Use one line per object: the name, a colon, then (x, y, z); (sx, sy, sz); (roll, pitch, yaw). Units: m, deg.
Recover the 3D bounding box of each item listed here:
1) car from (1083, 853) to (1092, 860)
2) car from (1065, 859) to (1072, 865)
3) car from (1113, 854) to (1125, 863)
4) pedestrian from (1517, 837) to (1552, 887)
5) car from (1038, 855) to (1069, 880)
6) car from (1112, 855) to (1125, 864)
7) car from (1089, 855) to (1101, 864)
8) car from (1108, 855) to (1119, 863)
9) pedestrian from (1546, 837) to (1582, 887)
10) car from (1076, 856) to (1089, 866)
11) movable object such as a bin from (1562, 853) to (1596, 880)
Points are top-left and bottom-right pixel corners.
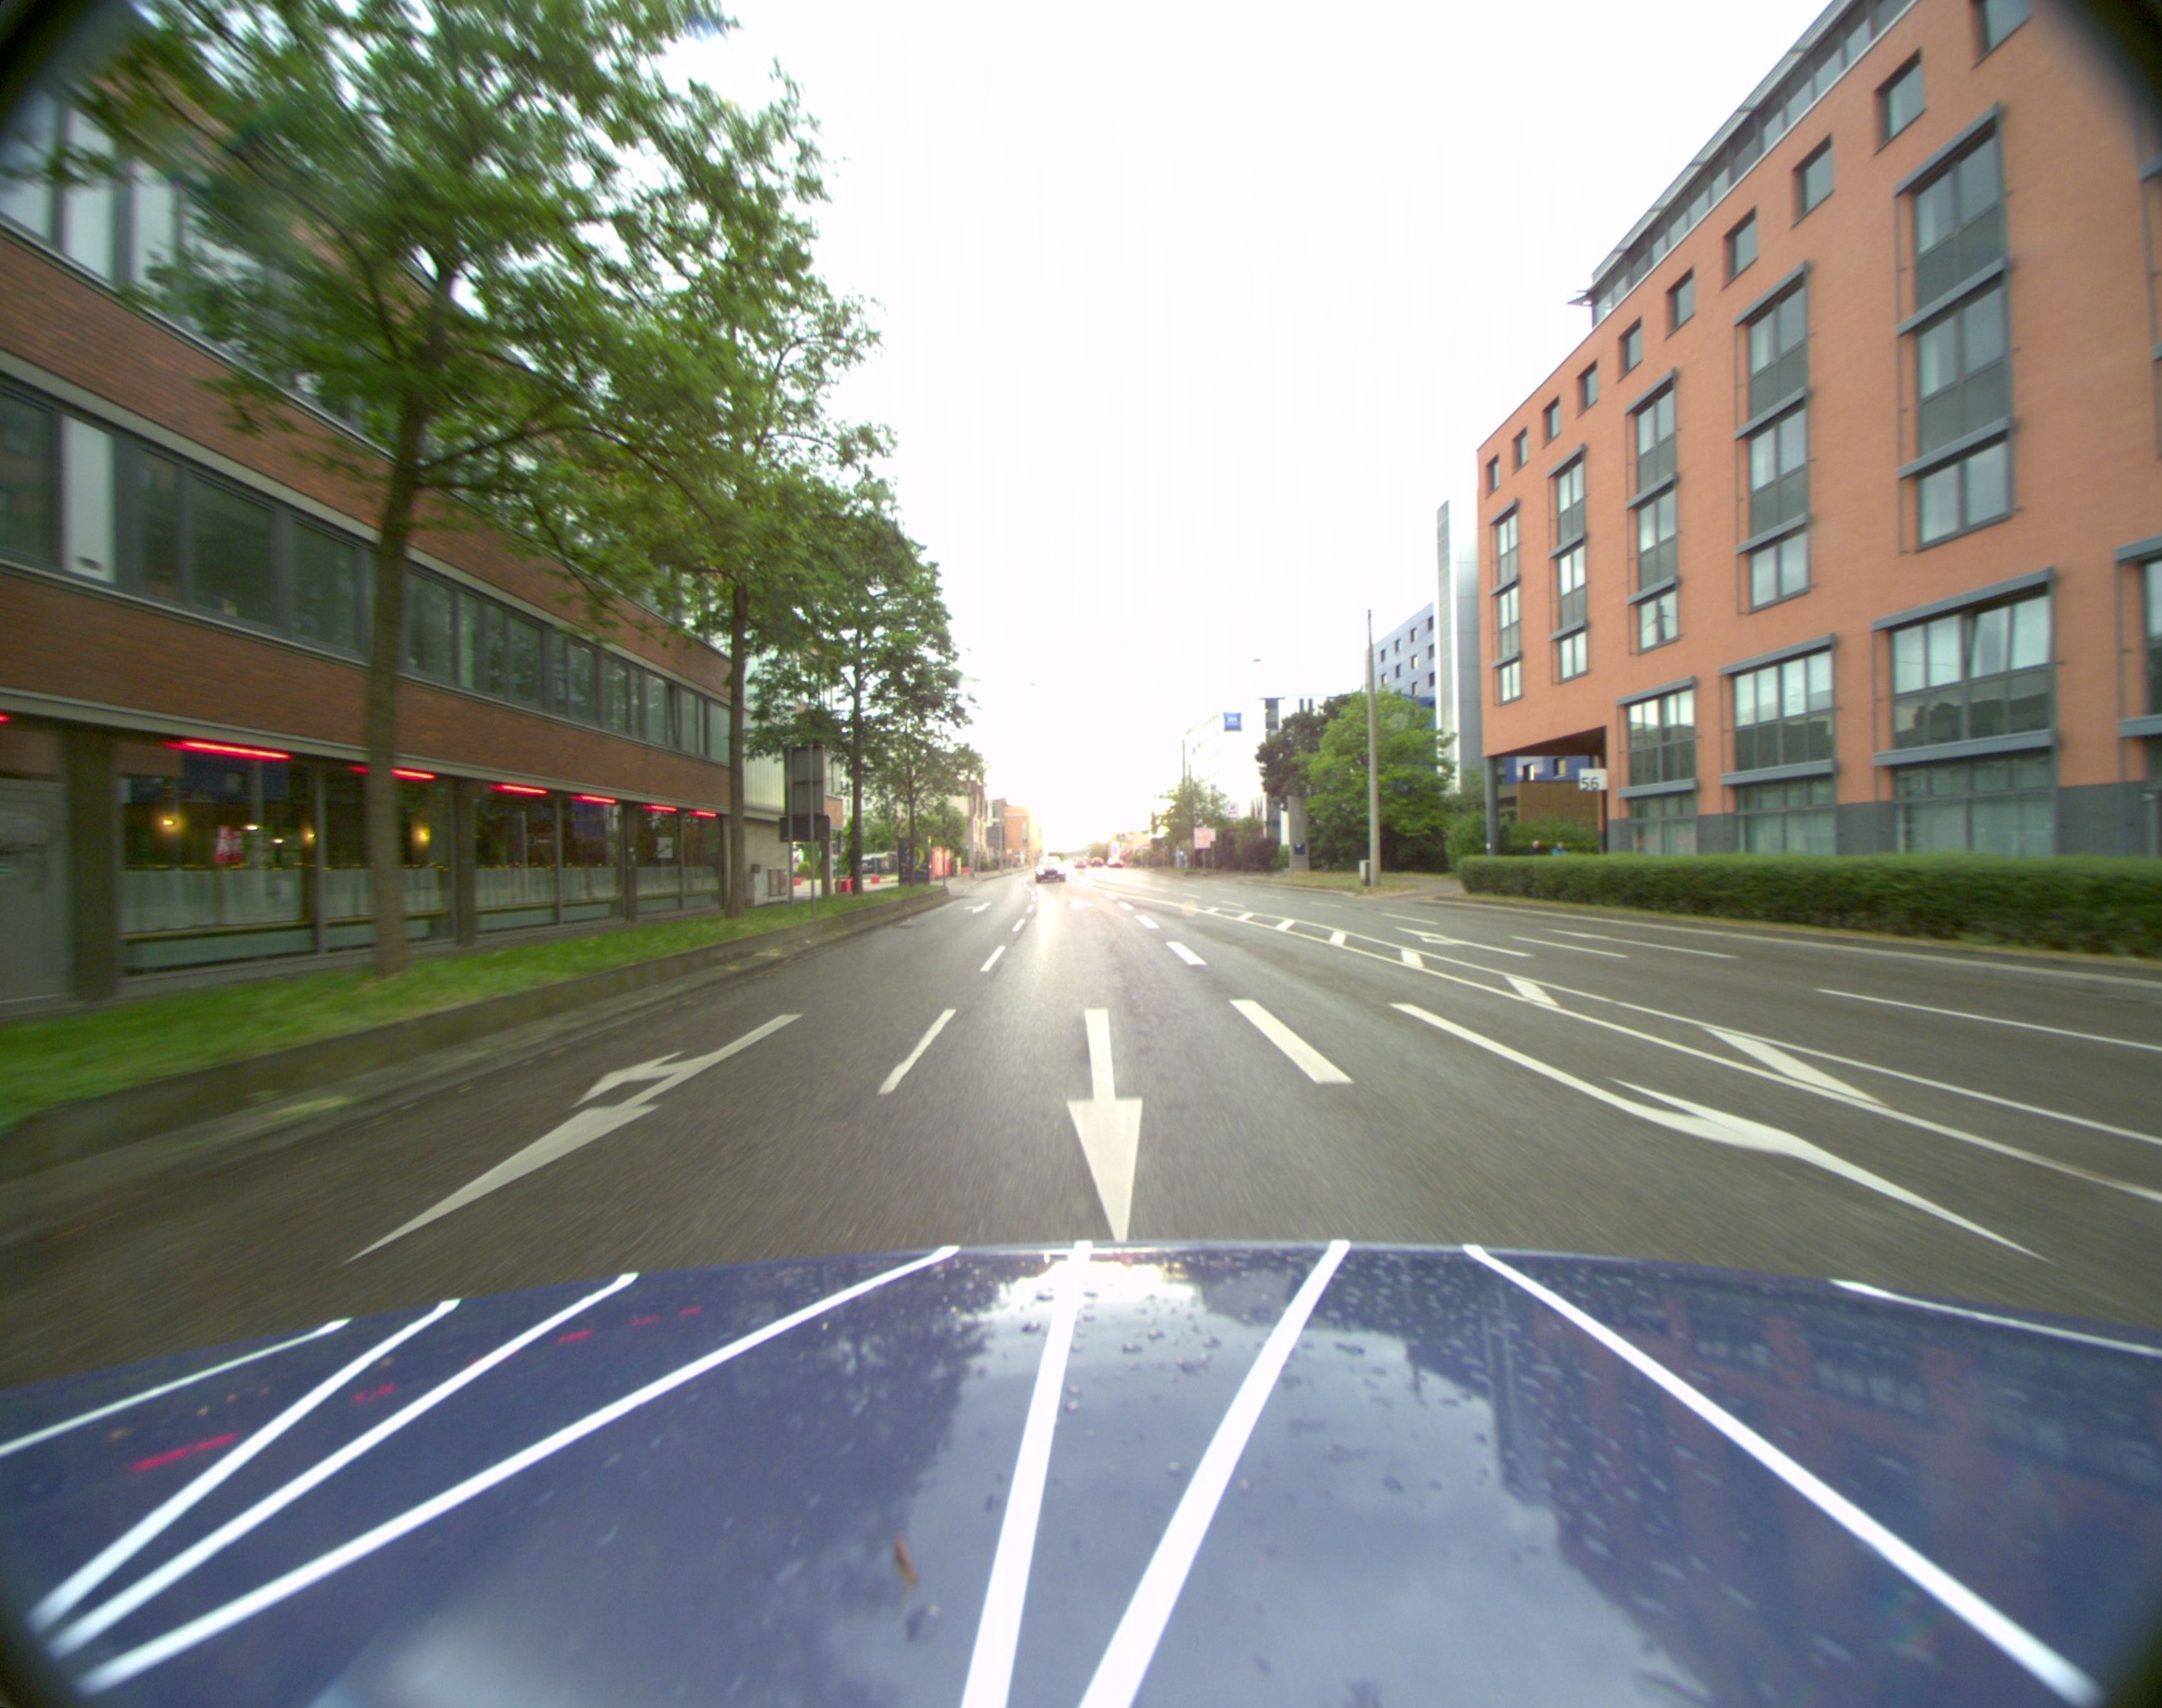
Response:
car: (1.611, 0.609, 179.925); (1.999, 1.543, 4.000); (-1, 0, 0)
car: (-3.112, 1.957, 192.355); (1.799, 1.501, 4.000); (0, -1, 0)
car: (6.769, 0.823, 135.242); (1.767, 1.559, 3.999); (1, 0, -2)
pedestrian: (17.180, 0.309, 28.791); (0.747, 1.830, 0.885); (-2, 1, -1)
car: (-1.969, 0.924, 53.168); (1.999, 1.656, 5.423); (-1, 0, -4)
car: (6.247, 0.882, 127.423); (1.767, 1.559, 3.999); (1, 0, -3)
car: (2.550, 0.997, 136.695); (1.999, 1.543, 4.000); (-1, 0, 0)
car: (6.156, 0.916, 144.427); (1.767, 1.559, 3.999); (1, 0, -2)
pedestrian: (18.198, 0.282, 28.648); (0.747, 1.830, 0.885); (-2, 1, -1)
car: (0.230, 1.175, 121.779); (1.999, 1.543, 4.000); (-1, 0, 0)
movable object such as a bin: (23.846, 0.602, 36.372); (0.782, 1.241, 1.209); (-1, 0, -4)
